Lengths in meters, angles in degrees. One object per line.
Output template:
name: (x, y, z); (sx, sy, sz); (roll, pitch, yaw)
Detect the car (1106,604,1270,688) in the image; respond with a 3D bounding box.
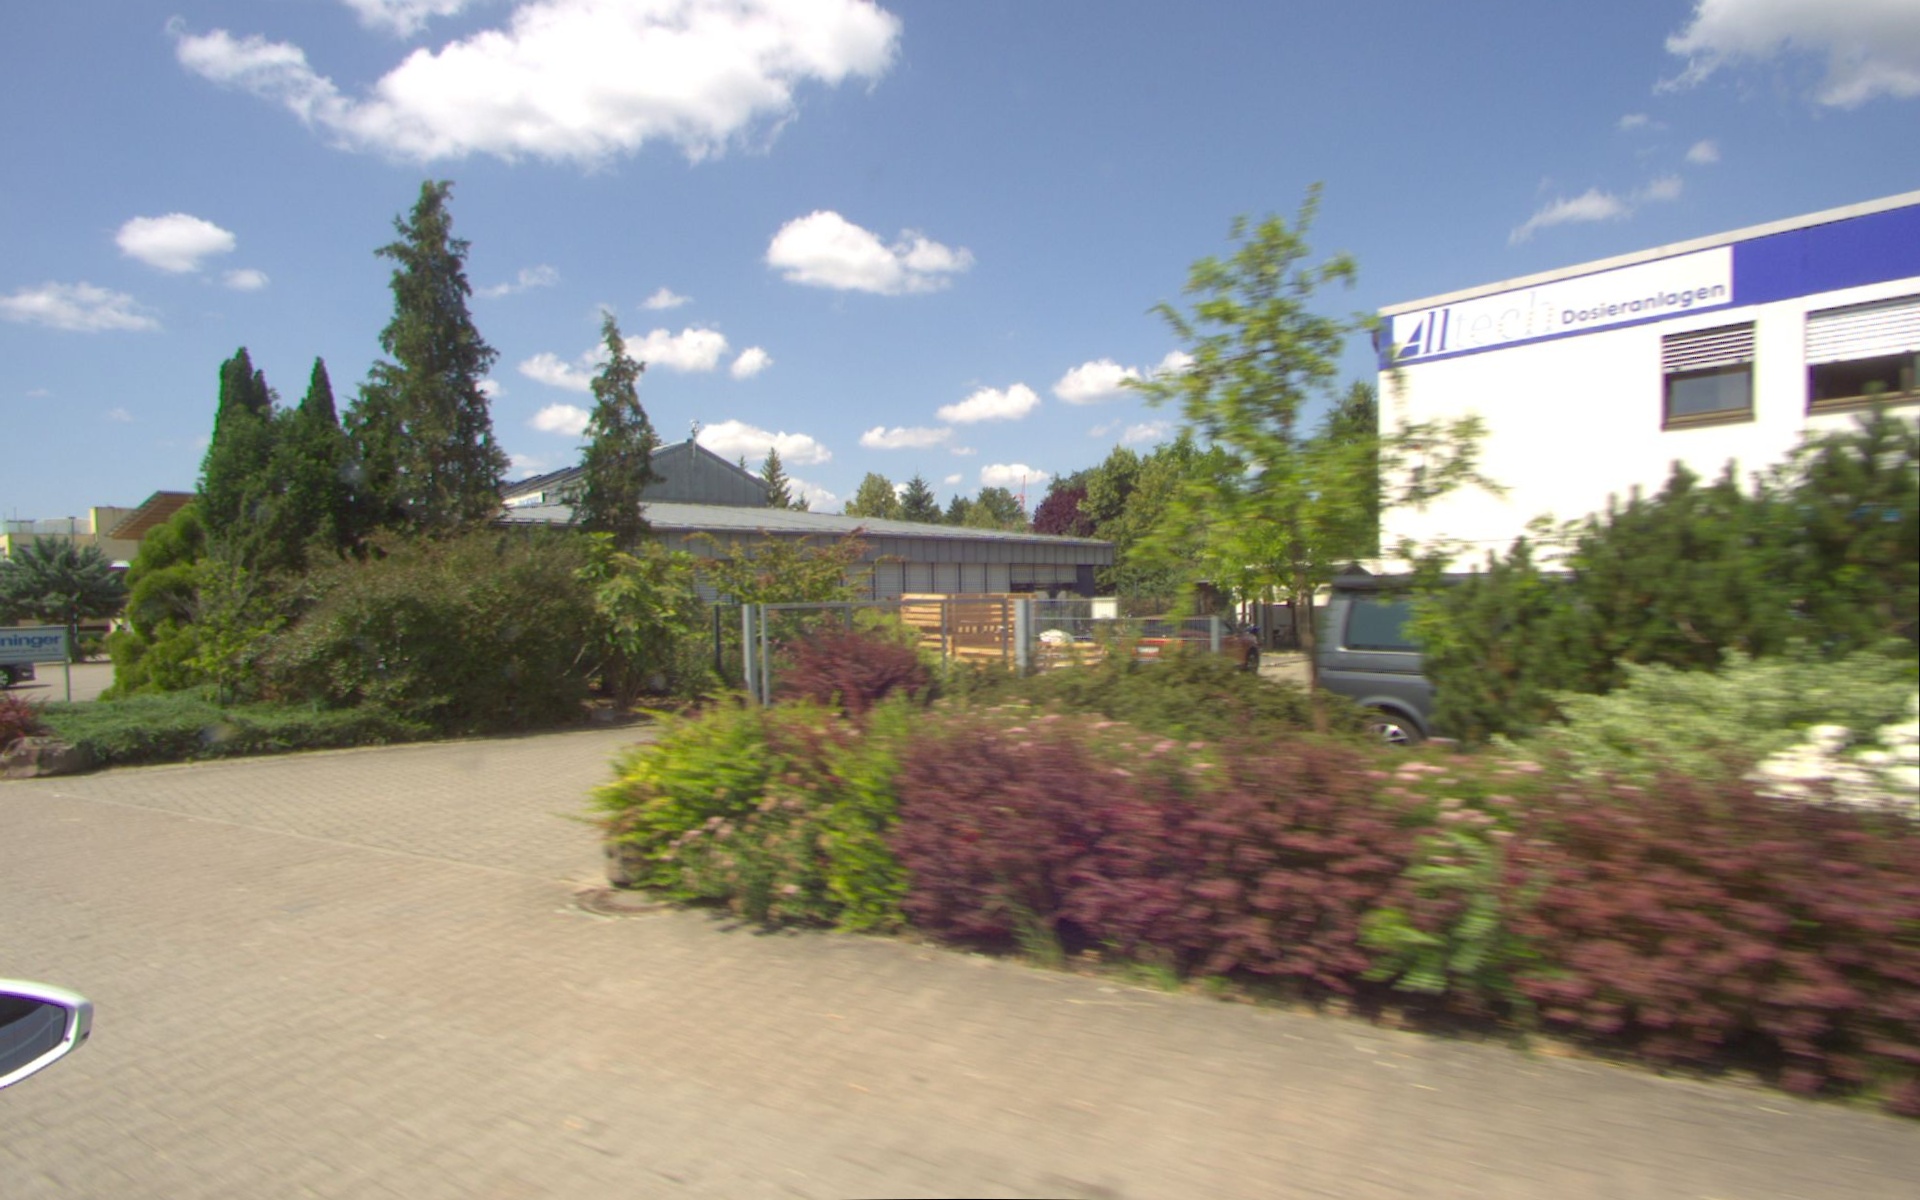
car: (5.101, 0.942, 22.093); (1.824, 1.682, 4.012); (-1, -1, 42)

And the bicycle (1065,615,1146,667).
bicycle: (4.101, 1.162, 28.360); (2.251, 1.399, 0.664); (-3, 0, 43)

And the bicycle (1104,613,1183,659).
bicycle: (5.355, 1.061, 29.323); (2.205, 1.262, 0.708); (-3, 0, 42)

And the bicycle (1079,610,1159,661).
bicycle: (4.572, 1.051, 28.960); (2.197, 1.380, 0.713); (-3, 0, 43)

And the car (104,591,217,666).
car: (-25.914, 0.898, 32.400); (4.665, 2.154, 2.088); (-2, 2, 43)

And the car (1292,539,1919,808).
car: (5.697, 0.566, 9.089); (1.883, 1.821, 4.751); (-3, 0, -42)

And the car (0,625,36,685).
car: (-24.993, 1.356, 23.545); (1.786, 1.459, 4.472); (-1, -1, 27)
